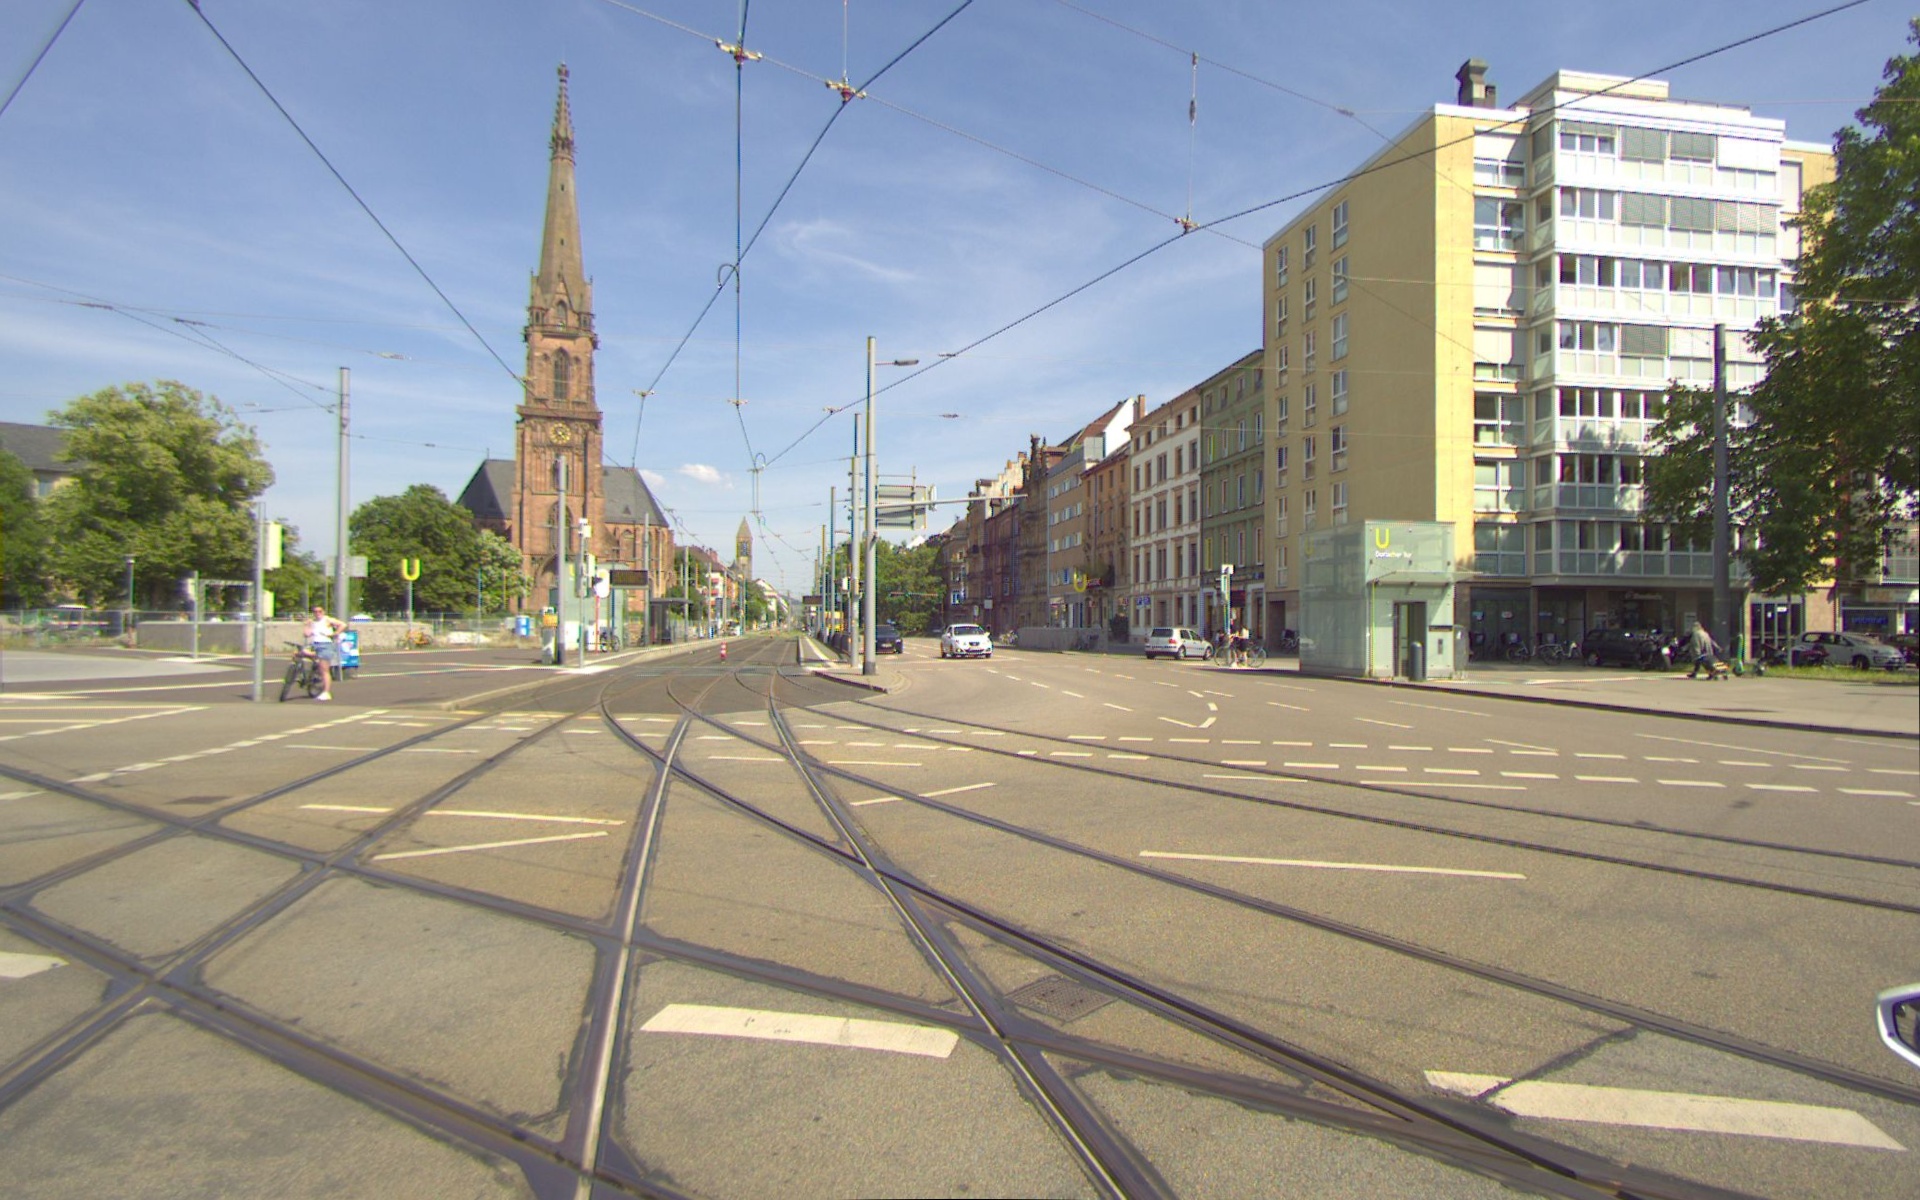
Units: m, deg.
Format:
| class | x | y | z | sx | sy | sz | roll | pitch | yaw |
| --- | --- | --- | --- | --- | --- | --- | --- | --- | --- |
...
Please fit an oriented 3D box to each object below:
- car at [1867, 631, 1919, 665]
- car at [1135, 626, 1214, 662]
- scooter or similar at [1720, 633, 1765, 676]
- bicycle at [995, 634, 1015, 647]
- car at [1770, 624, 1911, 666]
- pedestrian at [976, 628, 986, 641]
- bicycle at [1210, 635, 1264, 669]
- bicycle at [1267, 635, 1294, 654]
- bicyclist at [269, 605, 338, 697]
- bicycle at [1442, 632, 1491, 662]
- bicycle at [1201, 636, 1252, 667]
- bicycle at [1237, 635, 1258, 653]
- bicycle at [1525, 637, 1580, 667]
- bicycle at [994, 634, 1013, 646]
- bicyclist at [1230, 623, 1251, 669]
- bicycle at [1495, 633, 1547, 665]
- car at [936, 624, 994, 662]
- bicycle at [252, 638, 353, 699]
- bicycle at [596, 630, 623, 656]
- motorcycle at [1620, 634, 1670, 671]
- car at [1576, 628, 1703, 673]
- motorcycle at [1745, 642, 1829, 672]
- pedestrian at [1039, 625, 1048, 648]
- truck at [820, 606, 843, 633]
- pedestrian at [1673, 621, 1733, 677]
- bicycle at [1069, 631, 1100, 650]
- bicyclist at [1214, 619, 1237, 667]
| class | x | y | z | sx | sy | sz | roll | pitch | yaw |
| --- | --- | --- | --- | --- | --- | --- | --- | --- | --- |
| car | 39.712 | 2.007 | 40.881 | 1.712 | 1.287 | 3.994 | 1 | 1 | -9 |
| car | 9.810 | 2.013 | 45.678 | 1.787 | 1.459 | 3.981 | 1 | -3 | 41 |
| scooter or similar | 21.203 | 1.462 | 27.222 | 0.507 | 1.134 | 1.364 | 0 | -1 | 18 |
| bicycle | 3.517 | 3.137 | 78.457 | 1.439 | 0.989 | 0.415 | 1 | 1 | -10 |
| car | 35.294 | 1.787 | 40.410 | 1.856 | 1.459 | 3.994 | 1 | 1 | -9 |
| pedestrian | 2.187 | 3.663 | 106.260 | 0.933 | 1.342 | 0.821 | 0 | -1 | -12 |
| bicycle | 9.838 | 1.845 | 35.687 | 1.760 | 1.145 | 0.755 | 1 | -2 | 8 |
| bicycle | 17.274 | 2.415 | 54.228 | 0.573 | 0.977 | 1.777 | -2 | -1 | -10 |
| bicyclist | -12.445 | 0.976 | 19.065 | 0.737 | 1.706 | 0.777 | 1 | -3 | -3 |
| bicycle | 20.978 | 1.947 | 41.609 | 1.855 | 1.201 | 0.541 | 0 | -1 | -8 |
| bicycle | 9.885 | 1.909 | 37.235 | 1.767 | 1.145 | 0.582 | 2 | -2 | -16 |
| bicycle | 16.678 | 2.561 | 58.302 | 0.407 | 0.977 | 1.777 | -2 | -1 | -10 |
| bicycle | 22.634 | 1.973 | 38.381 | 1.722 | 1.100 | 0.584 | -1 | -1 | 1 |
| bicycle | 3.451 | 3.162 | 78.898 | 1.439 | 0.959 | 0.415 | 1 | -3 | -10 |
| bicyclist | 9.929 | 1.629 | 35.598 | 0.600 | 1.593 | 0.734 | 1 | -2 | 8 |
| bicycle | 22.102 | 1.920 | 39.582 | 1.722 | 1.235 | 0.584 | 0 | -1 | 1 |
| car | 0.157 | 1.769 | 42.600 | 1.728 | 1.416 | 4.118 | -3 | -1 | -10 |
| bicycle | -12.438 | 1.291 | 19.072 | 0.737 | 1.098 | 1.849 | 1 | -3 | -3 |
| bicycle | -15.771 | 1.918 | 45.235 | 0.405 | 1.085 | 1.664 | -1 | 0 | 9 |
| motorcycle | 21.078 | 1.611 | 30.929 | 0.628 | 1.076 | 2.039 | 0 | -1 | 15 |
| car | 25.702 | 1.869 | 38.176 | 1.629 | 1.489 | 4.087 | 3 | -2 | -9 |
| motorcycle | 25.999 | 1.780 | 31.597 | 2.009 | 0.853 | 0.637 | -1 | -2 | 42 |
| pedestrian | 6.301 | 2.766 | 75.769 | 0.544 | 1.687 | 0.524 | 0 | -1 | -10 |
| truck | -17.052 | 2.650 | 133.145 | 2.505 | 3.342 | 9.014 | -2 | -1 | -10 |
| pedestrian | 19.801 | 1.288 | 26.782 | 0.645 | 1.423 | 1.114 | 0 | 1 | -14 |
| bicycle | 7.313 | 2.365 | 59.220 | 1.716 | 1.109 | 0.596 | 1 | -1 | -10 |
| bicyclist | 9.799 | 1.596 | 37.088 | 0.607 | 1.758 | 0.582 | 1 | -2 | -16 |
